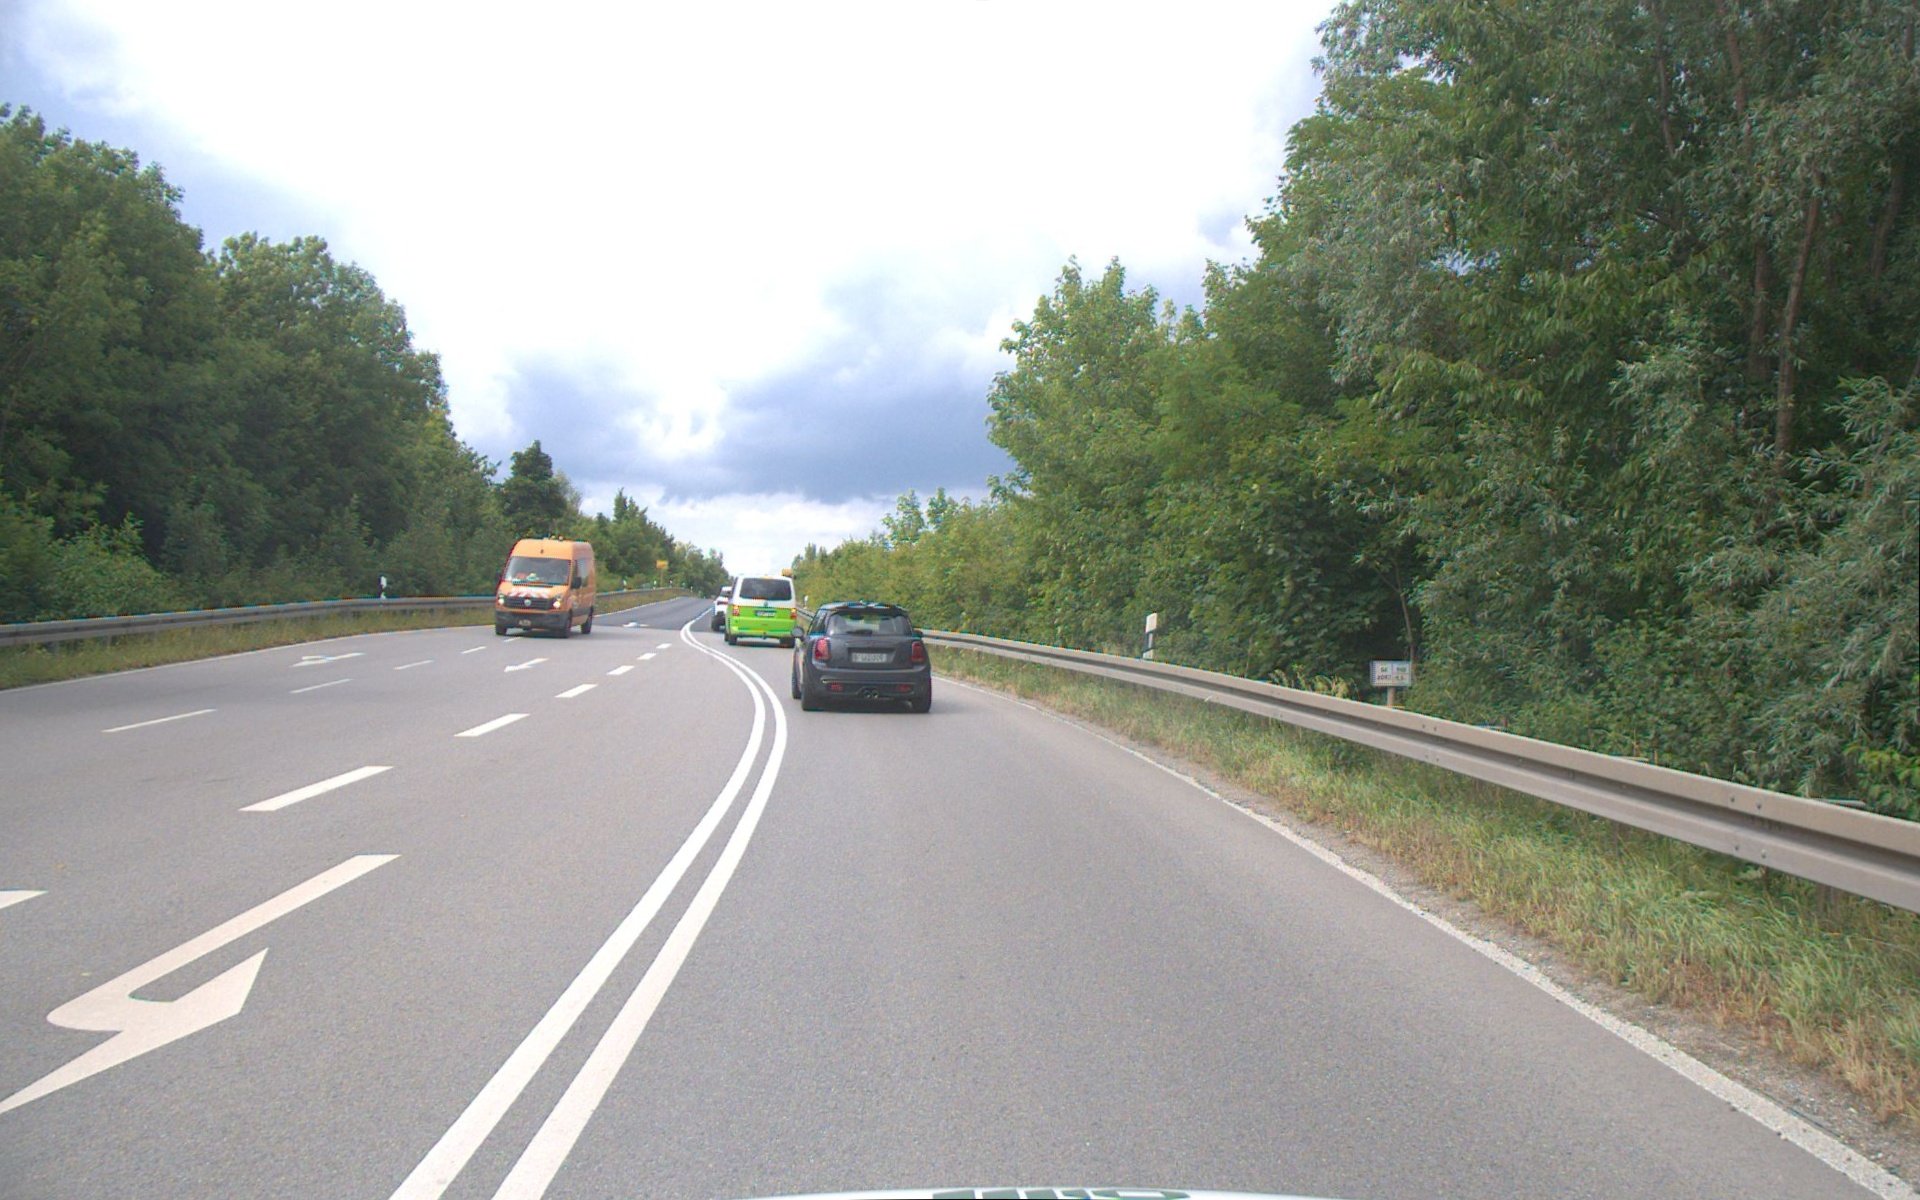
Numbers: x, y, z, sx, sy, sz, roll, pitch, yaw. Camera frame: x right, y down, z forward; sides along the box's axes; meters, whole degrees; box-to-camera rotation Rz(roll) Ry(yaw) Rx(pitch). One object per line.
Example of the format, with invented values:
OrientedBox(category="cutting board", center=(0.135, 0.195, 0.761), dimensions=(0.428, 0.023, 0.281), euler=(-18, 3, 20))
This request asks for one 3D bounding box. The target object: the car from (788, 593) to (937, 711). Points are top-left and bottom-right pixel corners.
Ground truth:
OrientedBox(category="car", center=(-1.454, 0.664, 23.256), dimensions=(1.700, 1.481, 3.992), euler=(2, 0, -9))

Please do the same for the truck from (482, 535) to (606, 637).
OrientedBox(category="truck", center=(-11.620, -0.405, 46.610), dimensions=(2.270, 2.646, 6.019), euler=(1, 1, -4))

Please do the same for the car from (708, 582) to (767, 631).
OrientedBox(category="car", center=(-7.996, 0.195, 59.092), dimensions=(1.951, 1.646, 4.144), euler=(1, 0, -9))

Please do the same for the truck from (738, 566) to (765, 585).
OrientedBox(category="truck", center=(-26.862, -3.127, 213.244), dimensions=(2.852, 2.413, 10.443), euler=(1, 0, -4))

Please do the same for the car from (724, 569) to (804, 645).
OrientedBox(category="car", center=(-5.590, 0.166, 46.791), dimensions=(1.986, 2.048, 3.990), euler=(1, 0, -11))
